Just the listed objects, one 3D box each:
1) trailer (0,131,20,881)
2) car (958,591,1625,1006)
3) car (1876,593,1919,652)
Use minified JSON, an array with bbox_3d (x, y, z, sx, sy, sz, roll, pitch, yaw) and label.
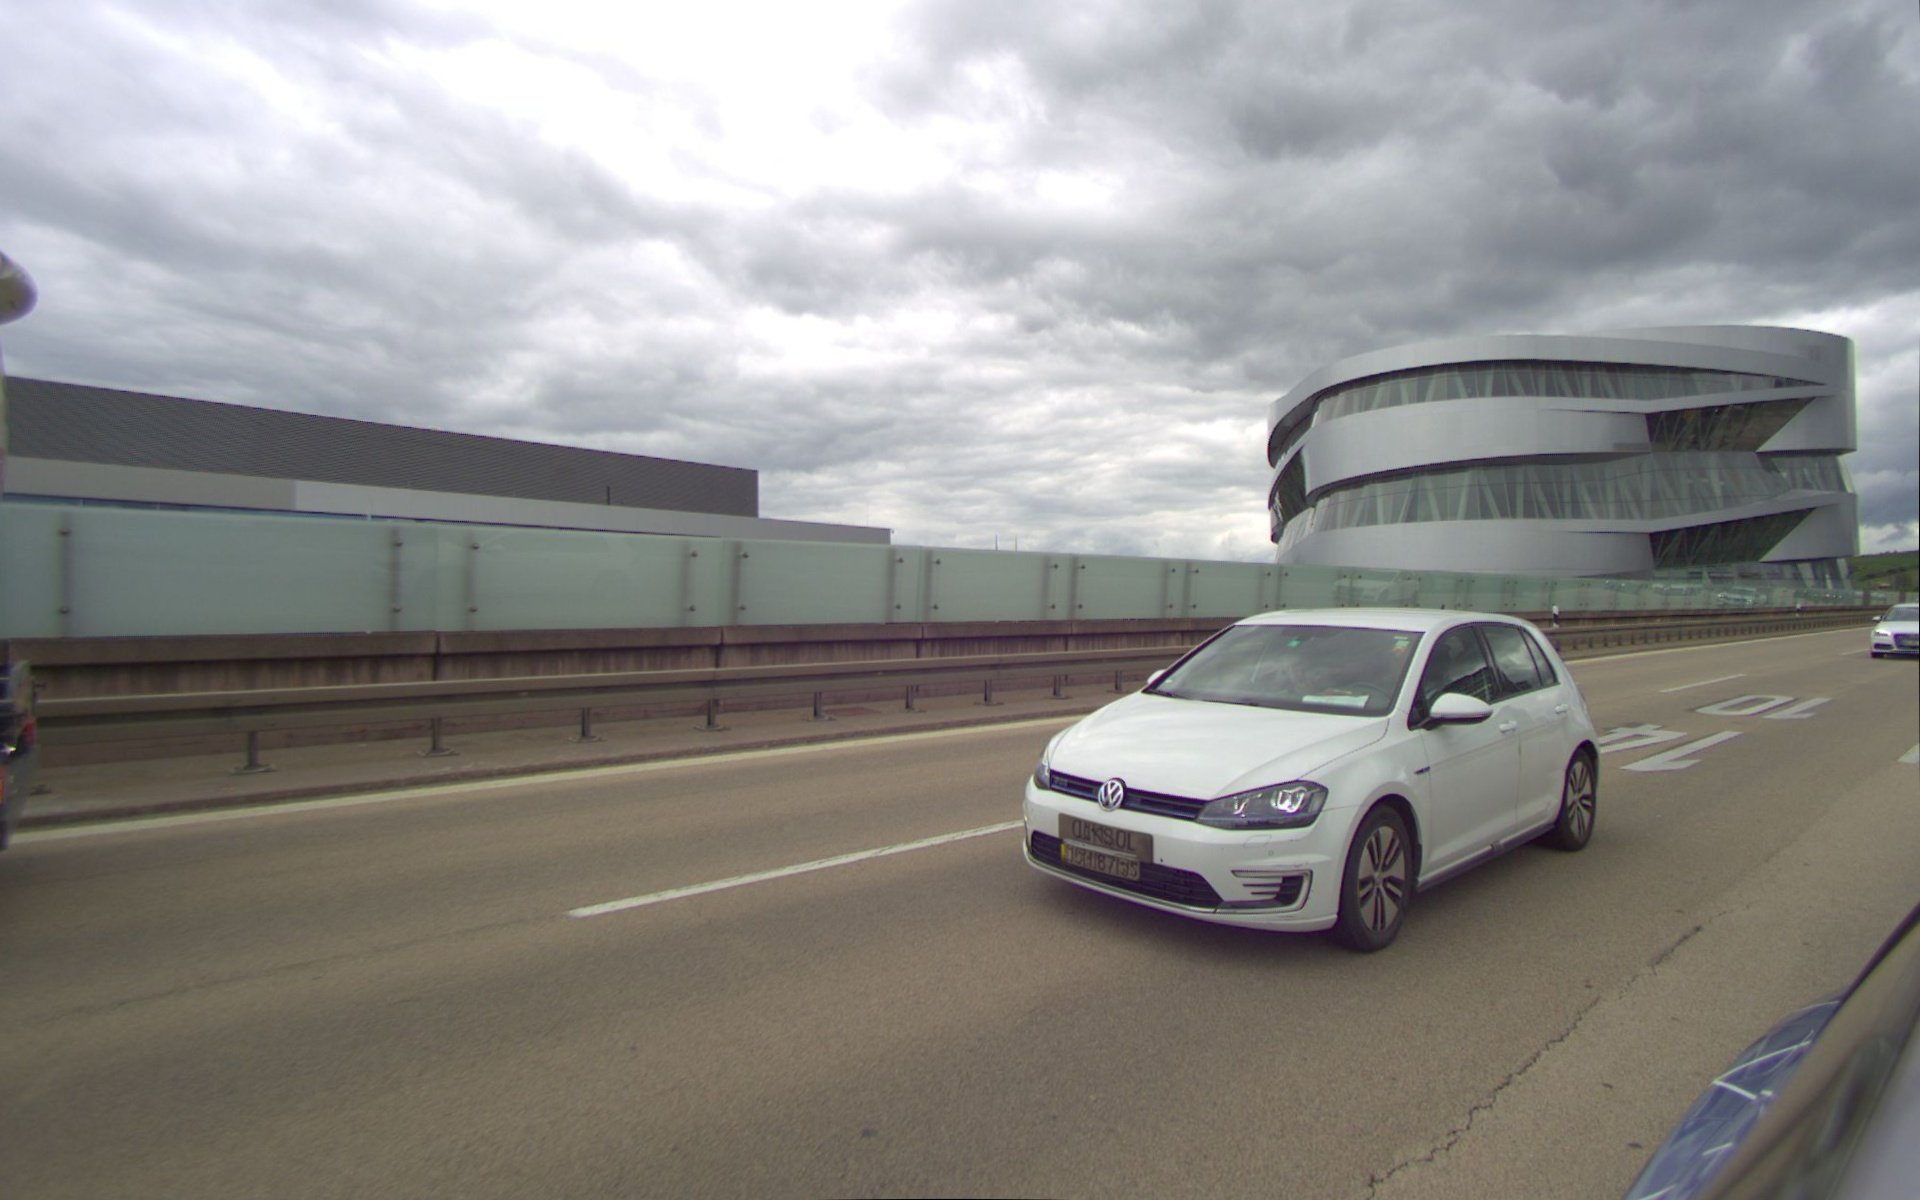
[{"bbox_3d":[-8.742,-0.409,1.214,11.024,3.588,2.655,-1,1,-41],"label":"trailer"},{"bbox_3d":[2.062,0.702,5.625,4.002,1.470,1.757,0,1,-42],"label":"car"},{"bbox_3d":[25.287,0.553,26.120,3.861,1.470,1.848,0,0,-39],"label":"car"}]
